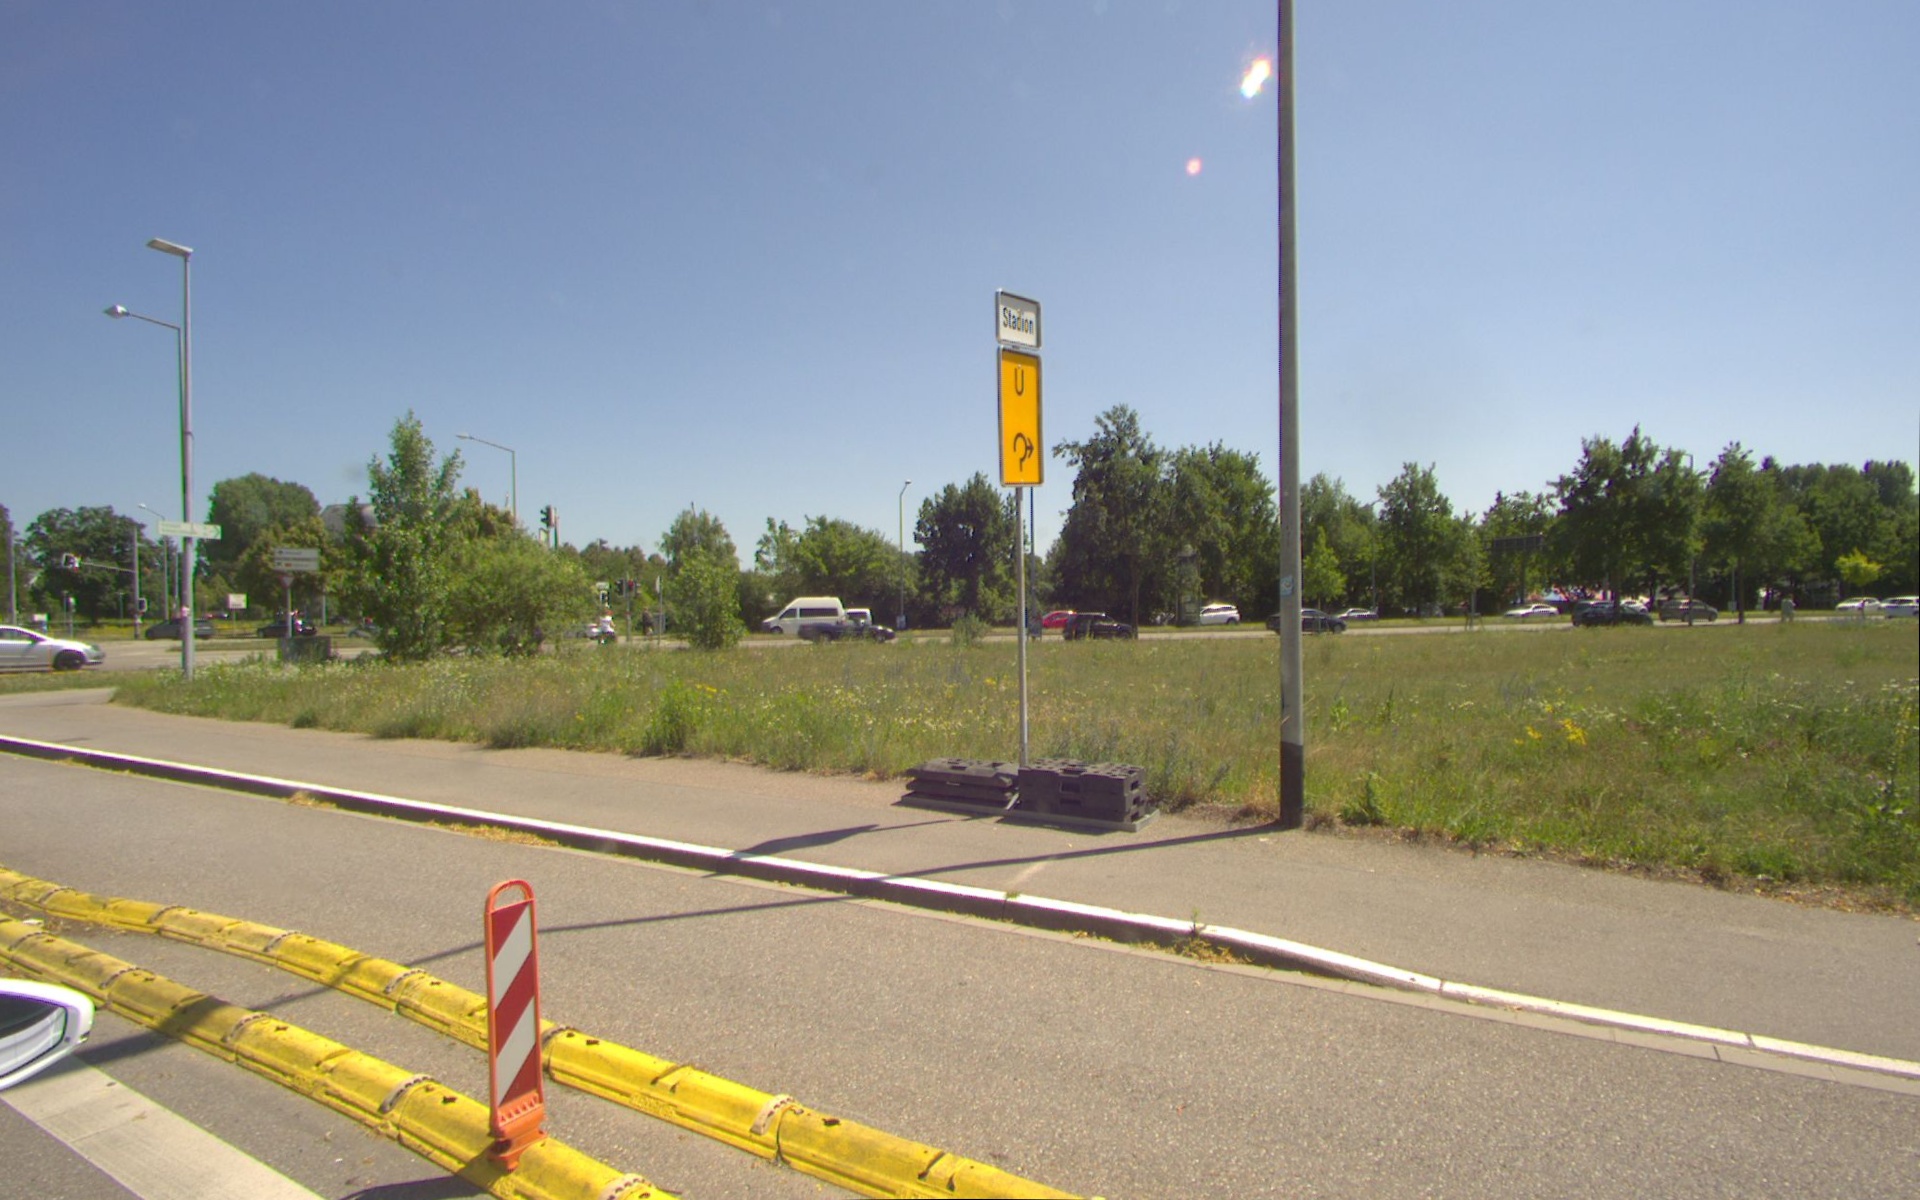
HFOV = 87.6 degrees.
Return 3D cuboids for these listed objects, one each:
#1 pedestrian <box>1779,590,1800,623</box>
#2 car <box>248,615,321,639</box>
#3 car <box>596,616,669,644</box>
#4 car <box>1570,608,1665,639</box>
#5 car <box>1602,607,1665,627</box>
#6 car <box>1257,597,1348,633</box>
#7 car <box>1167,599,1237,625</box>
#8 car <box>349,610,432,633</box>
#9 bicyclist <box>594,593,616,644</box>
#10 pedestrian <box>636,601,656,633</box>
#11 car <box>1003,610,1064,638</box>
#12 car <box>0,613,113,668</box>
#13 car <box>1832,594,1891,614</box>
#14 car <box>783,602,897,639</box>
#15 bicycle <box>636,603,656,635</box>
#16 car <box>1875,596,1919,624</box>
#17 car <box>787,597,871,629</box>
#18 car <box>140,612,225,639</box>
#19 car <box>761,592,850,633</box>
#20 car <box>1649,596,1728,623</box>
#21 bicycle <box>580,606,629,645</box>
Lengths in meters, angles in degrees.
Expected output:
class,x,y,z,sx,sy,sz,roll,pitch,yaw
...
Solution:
class,x,y,z,sx,sy,sz,roll,pitch,yaw
pedestrian,41.470,0.348,50.071,0.548,1.611,0.662,1,-1,-32
car,-49.838,1.989,73.913,4.359,1.758,1.849,0,-2,7
car,-21.040,1.954,64.429,4.365,1.758,1.846,0,-2,-16
car,38.114,1.389,58.045,4.559,1.758,1.999,0,-2,-13
car,54.328,1.376,80.728,4.365,1.612,1.846,0,-2,-16
car,19.158,0.848,56.116,4.564,1.961,1.996,1,-2,-19
car,16.764,0.860,69.338,4.365,1.758,1.846,0,-2,-16
car,-34.305,1.305,60.309,4.249,1.389,1.752,-1,-2,11
bicyclist,-13.182,0.696,37.161,0.597,1.864,0.572,0,-1,2
pedestrian,-16.739,0.899,53.417,0.954,1.681,0.885,0,-1,-16
car,5.058,1.664,69.040,3.867,1.840,1.662,0,-2,-15
car,-27.674,1.165,29.076,1.975,1.547,4.387,0,0,38
car,78.895,0.352,87.666,4.365,1.612,1.846,0,-2,-16
car,-5.817,1.020,48.540,5.239,1.758,1.996,1,-2,-19
bicycle,-16.782,1.034,53.554,0.967,1.617,2.879,0,-2,-16
car,63.085,0.691,65.897,4.559,1.758,1.999,0,-2,-13
car,-8.538,0.887,65.310,5.233,1.987,1.992,0,-2,-16
car,-51.088,1.702,65.845,4.359,1.758,1.849,0,-2,7
car,-9.483,0.821,61.464,5.233,2.427,1.991,0,-2,-16
car,49.149,0.651,67.536,4.563,1.758,1.997,0,-2,-18
bicycle,-13.183,0.962,37.255,0.628,1.370,2.896,0,-2,4
